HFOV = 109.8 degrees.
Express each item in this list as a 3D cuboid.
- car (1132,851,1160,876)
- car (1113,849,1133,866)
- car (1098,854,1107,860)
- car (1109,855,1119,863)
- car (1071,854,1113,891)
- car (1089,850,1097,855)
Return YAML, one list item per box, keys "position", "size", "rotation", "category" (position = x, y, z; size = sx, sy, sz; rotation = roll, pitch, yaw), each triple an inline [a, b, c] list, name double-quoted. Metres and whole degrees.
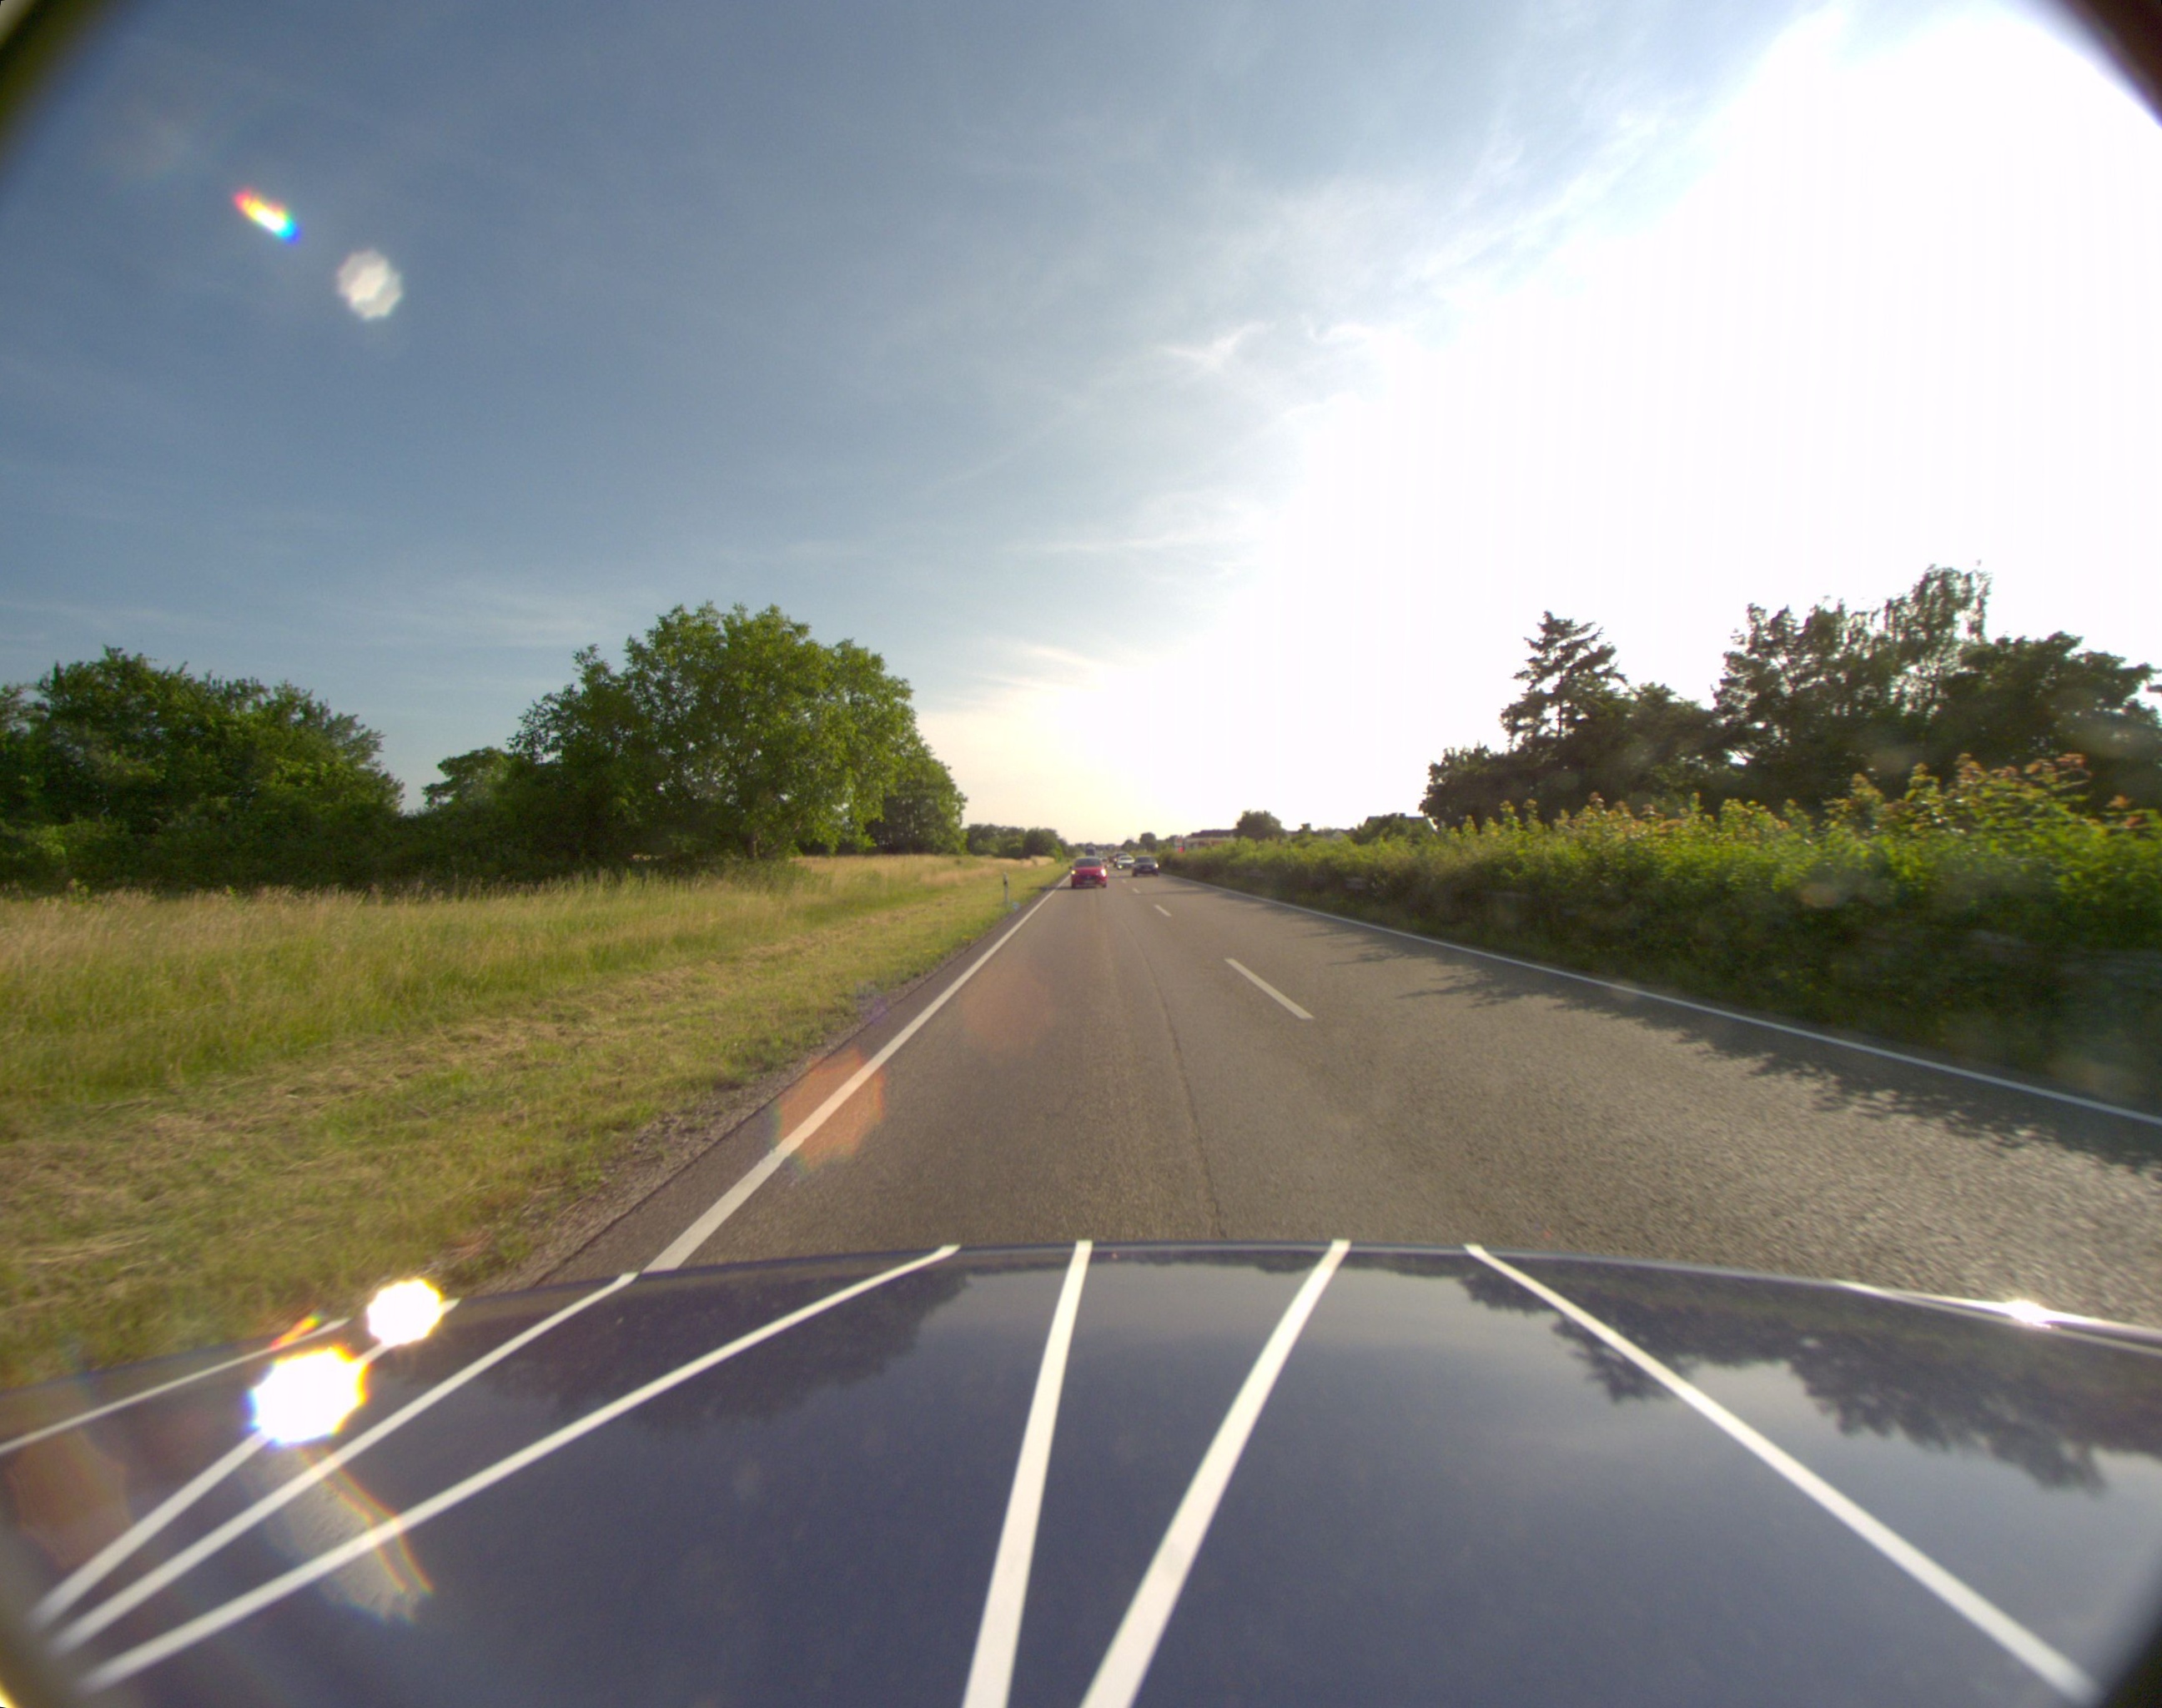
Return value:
- position: [4.610, 0.657, 54.198]
  size: [1.693, 1.695, 4.000]
  rotation: [-2, 0, 2]
  category: "car"
- position: [4.445, 0.363, 80.808]
  size: [1.998, 1.762, 4.000]
  rotation: [-2, 1, 2]
  category: "car"
- position: [4.999, 0.648, 179.503]
  size: [1.998, 1.412, 4.000]
  rotation: [-2, 0, 2]
  category: "car"
- position: [6.490, 0.974, 150.094]
  size: [1.998, 1.412, 4.000]
  rotation: [-2, 0, 2]
  category: "car"
- position: [0.567, 0.804, 35.844]
  size: [1.821, 1.565, 4.000]
  rotation: [-2, 0, 2]
  category: "car"
- position: [3.356, -0.499, 213.499]
  size: [1.998, 1.412, 4.000]
  rotation: [-2, 0, 2]
  category: "car"
